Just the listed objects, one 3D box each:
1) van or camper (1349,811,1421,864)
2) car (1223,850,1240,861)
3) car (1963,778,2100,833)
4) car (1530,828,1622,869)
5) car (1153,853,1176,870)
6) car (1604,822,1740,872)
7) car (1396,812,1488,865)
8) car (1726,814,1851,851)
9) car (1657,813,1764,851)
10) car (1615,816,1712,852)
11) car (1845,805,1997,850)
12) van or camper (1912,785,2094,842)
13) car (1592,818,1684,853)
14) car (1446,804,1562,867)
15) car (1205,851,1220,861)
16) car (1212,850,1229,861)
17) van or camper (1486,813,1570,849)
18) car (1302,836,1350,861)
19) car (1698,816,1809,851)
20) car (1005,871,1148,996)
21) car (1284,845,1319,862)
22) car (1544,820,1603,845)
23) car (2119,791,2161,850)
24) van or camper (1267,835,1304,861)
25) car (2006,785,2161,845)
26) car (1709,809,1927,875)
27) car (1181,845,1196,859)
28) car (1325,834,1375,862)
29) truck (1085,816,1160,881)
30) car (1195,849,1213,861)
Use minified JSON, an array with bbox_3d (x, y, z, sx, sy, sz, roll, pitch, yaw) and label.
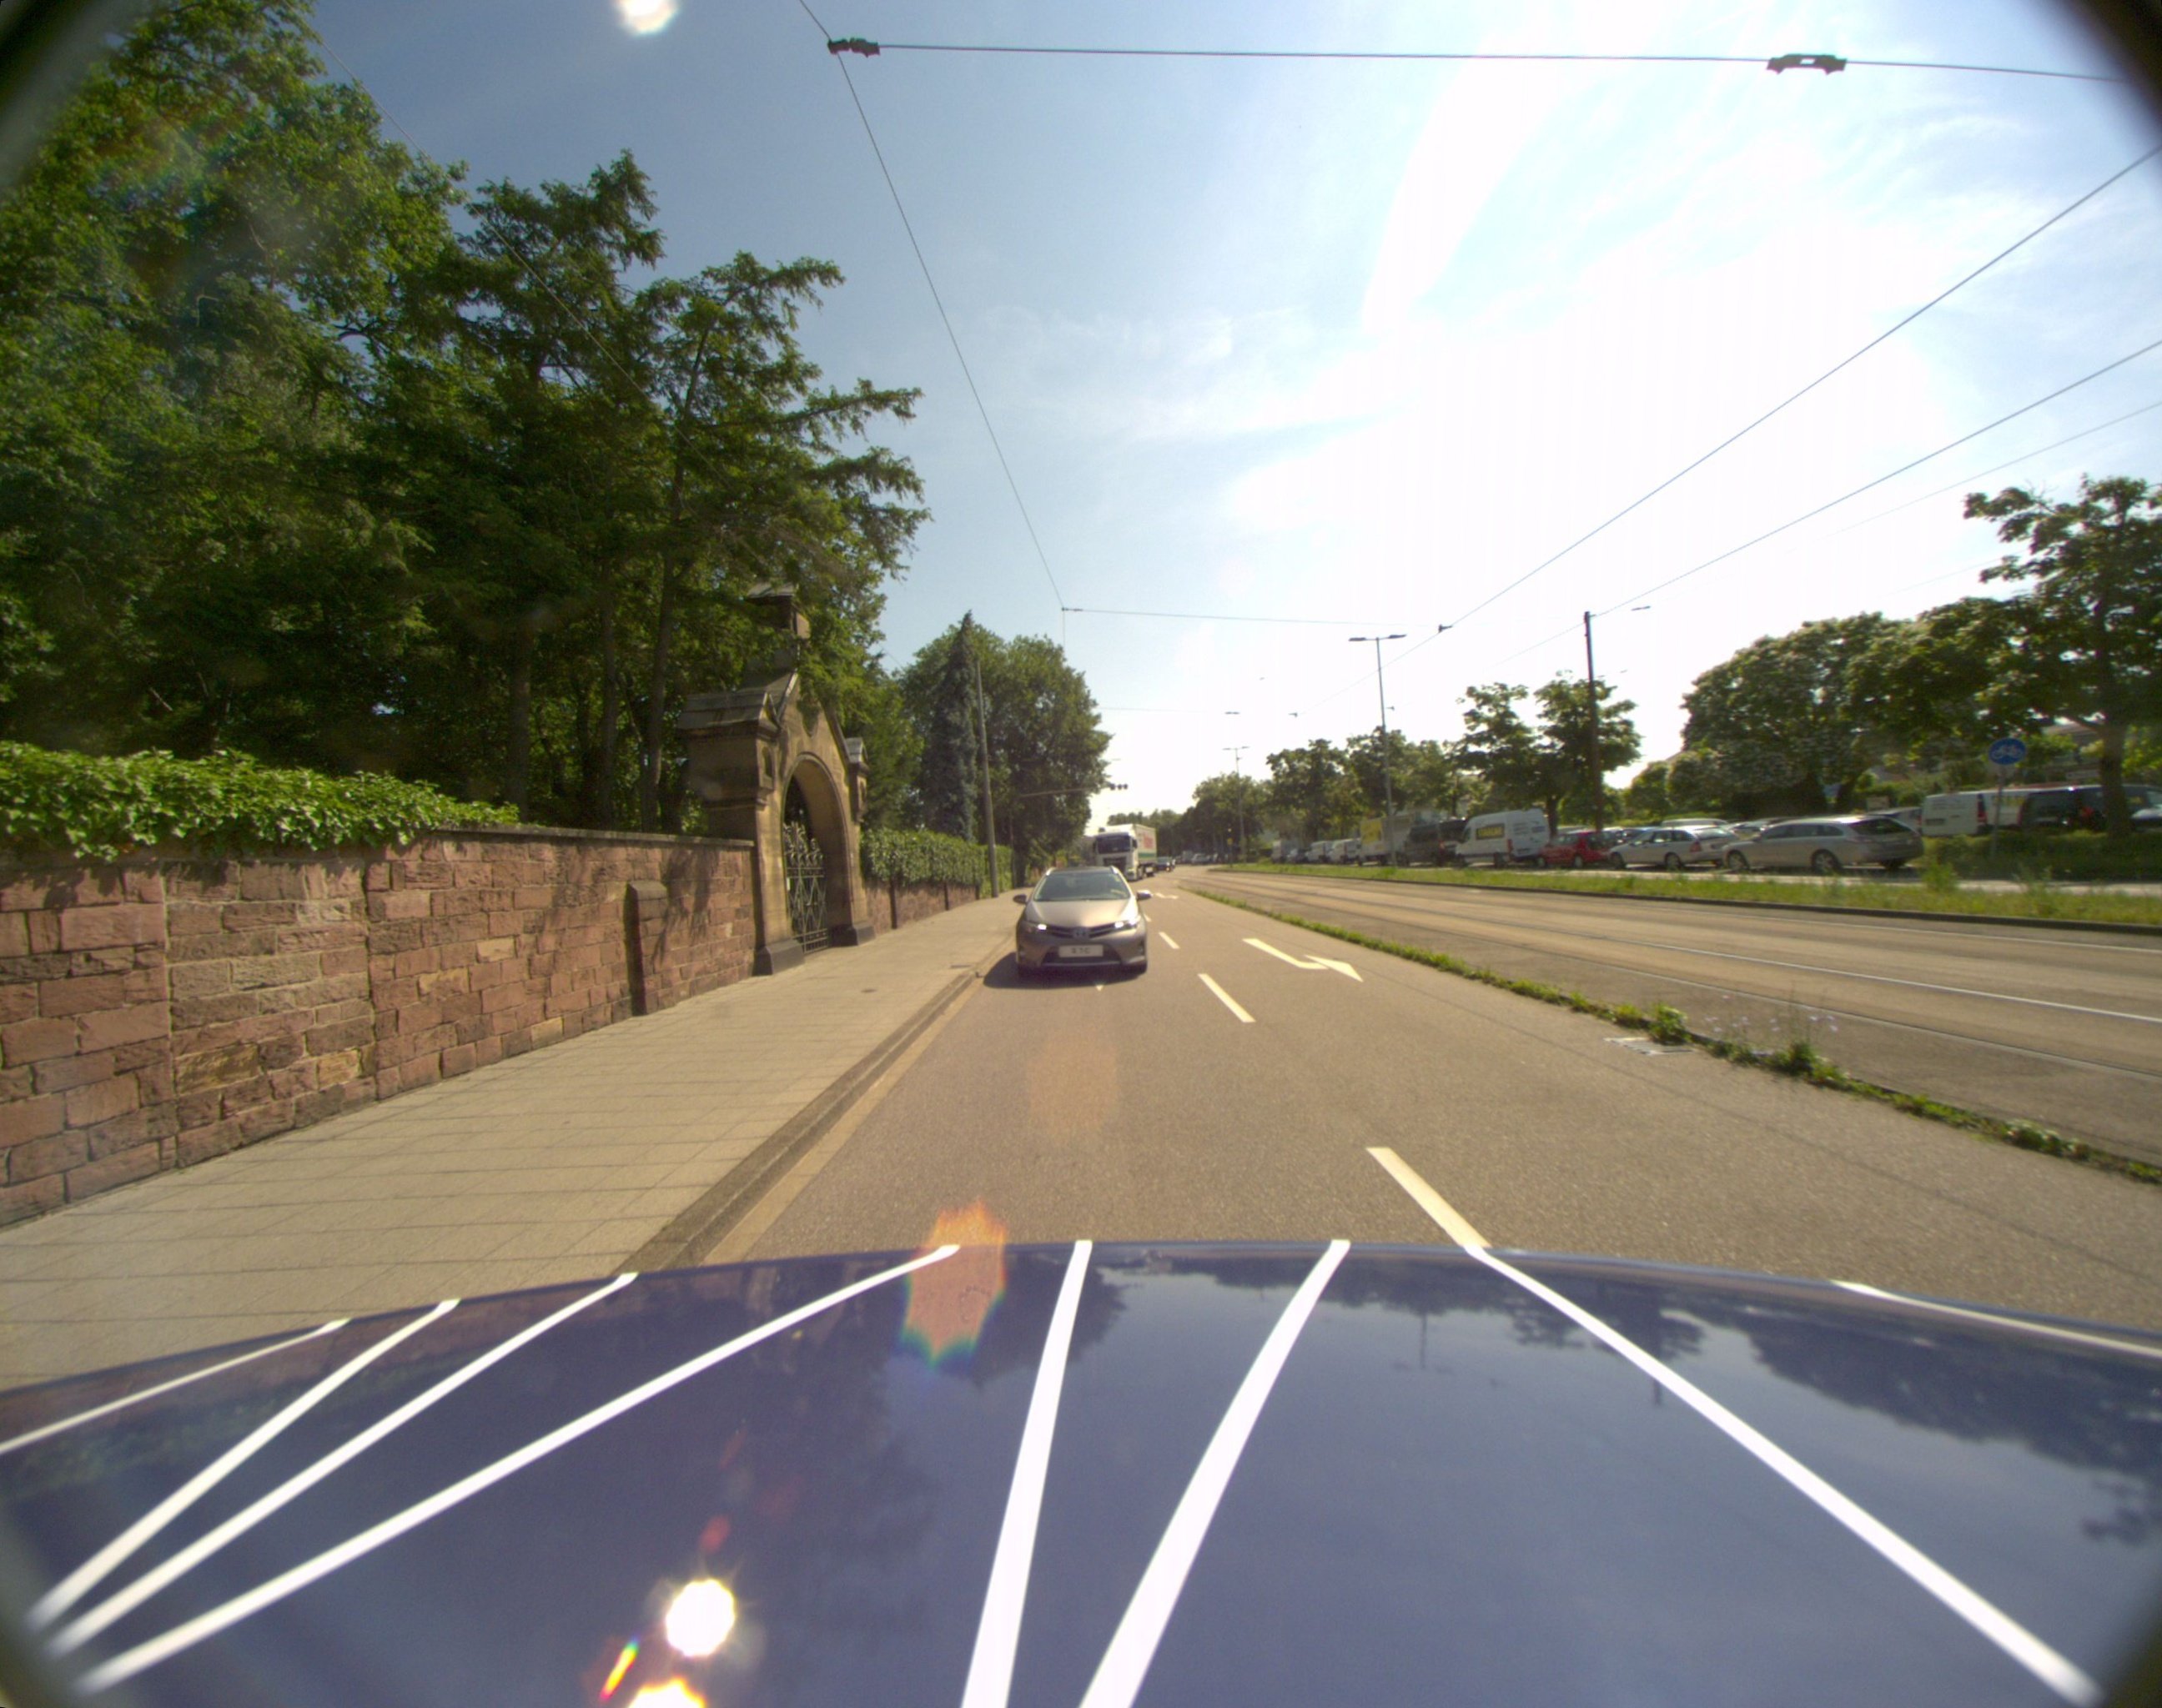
[{"bbox_3d":[20.783,-1.046,52.382,2.201,3.222,6.773,-6,-1,2],"label":"van or camper"},{"bbox_3d":[21.614,0.196,109.165,1.619,1.442,4.084,-4,-1,2],"label":"car"},{"bbox_3d":[43.985,-2.219,35.231,3.998,2.187,1.910,-4,0,-2],"label":"car"},{"bbox_3d":[20.378,-0.206,31.433,1.295,1.481,3.676,-4,0,-1],"label":"car"},{"bbox_3d":[8.189,0.723,74.585,1.759,1.455,4.000,-4,0,0],"label":"car"},{"bbox_3d":[20.339,-0.228,26.399,1.295,1.481,4.351,-5,0,1],"label":"car"},{"bbox_3d":[20.572,-0.823,43.716,2.201,2.653,6.079,-5,0,0],"label":"car"},{"bbox_3d":[31.245,-0.928,33.628,3.997,1.363,1.660,-3,0,-2],"label":"car"},{"bbox_3d":[32.042,-1.099,38.726,3.997,1.684,1.663,-4,0,1],"label":"car"},{"bbox_3d":[31.968,-1.070,41.777,3.997,1.684,1.663,-4,0,1],"label":"car"},{"bbox_3d":[30.668,-0.954,27.788,3.998,1.363,1.489,-3,0,-3],"label":"car"},{"bbox_3d":[30.716,-1.323,25.386,3.998,1.554,1.876,-3,0,-4],"label":"van or camper"},{"bbox_3d":[31.914,-1.044,43.588,3.997,1.684,1.663,-4,0,1],"label":"car"},{"bbox_3d":[20.470,-0.796,37.141,2.201,2.615,5.980,-6,-1,1],"label":"car"},{"bbox_3d":[21.985,0.373,127.004,1.679,1.427,4.457,-4,-1,-1],"label":"car"},{"bbox_3d":[21.957,0.242,119.579,1.679,1.603,4.242,-4,-1,-1],"label":"car"},{"bbox_3d":[45.748,-2.342,77.955,6.968,3.225,2.582,-3,0,-1],"label":"van or camper"},{"bbox_3d":[21.633,-0.465,67.439,2.202,1.929,5.184,-5,0,-3],"label":"car"},{"bbox_3d":[31.904,-0.970,36.101,3.998,1.363,1.489,-3,0,-3],"label":"car"},{"bbox_3d":[0.024,1.035,11.458,1.719,1.439,4.031,-2,0,2],"label":"car"},{"bbox_3d":[21.264,-0.061,73.555,1.937,1.446,4.886,-5,0,1],"label":"car"},{"bbox_3d":[43.985,-1.887,67.895,3.998,1.879,1.785,-4,0,-2],"label":"car"},{"bbox_3d":[30.609,-1.009,20.113,3.997,1.554,1.663,-3,0,-1],"label":"car"},{"bbox_3d":[21.554,-0.552,80.349,2.262,2.499,6.148,-4,0,2],"label":"van or camper"},{"bbox_3d":[30.773,-1.177,22.814,3.997,1.554,1.663,-3,0,-1],"label":"car"},{"bbox_3d":[20.231,-0.276,21.208,1.608,1.481,4.618,-6,-1,3],"label":"car"},{"bbox_3d":[22.396,-0.318,157.994,2.016,2.635,6.086,-7,0,1],"label":"car"},{"bbox_3d":[21.402,-0.412,60.742,2.201,1.929,5.186,-6,0,2],"label":"car"},{"bbox_3d":[3.420,-0.378,56.480,3.388,4.045,14.298,-3,0,11],"label":"truck"},{"bbox_3d":[17.368,0.163,107.821,2.048,1.587,4.661,-2,0,4],"label":"car"}]
